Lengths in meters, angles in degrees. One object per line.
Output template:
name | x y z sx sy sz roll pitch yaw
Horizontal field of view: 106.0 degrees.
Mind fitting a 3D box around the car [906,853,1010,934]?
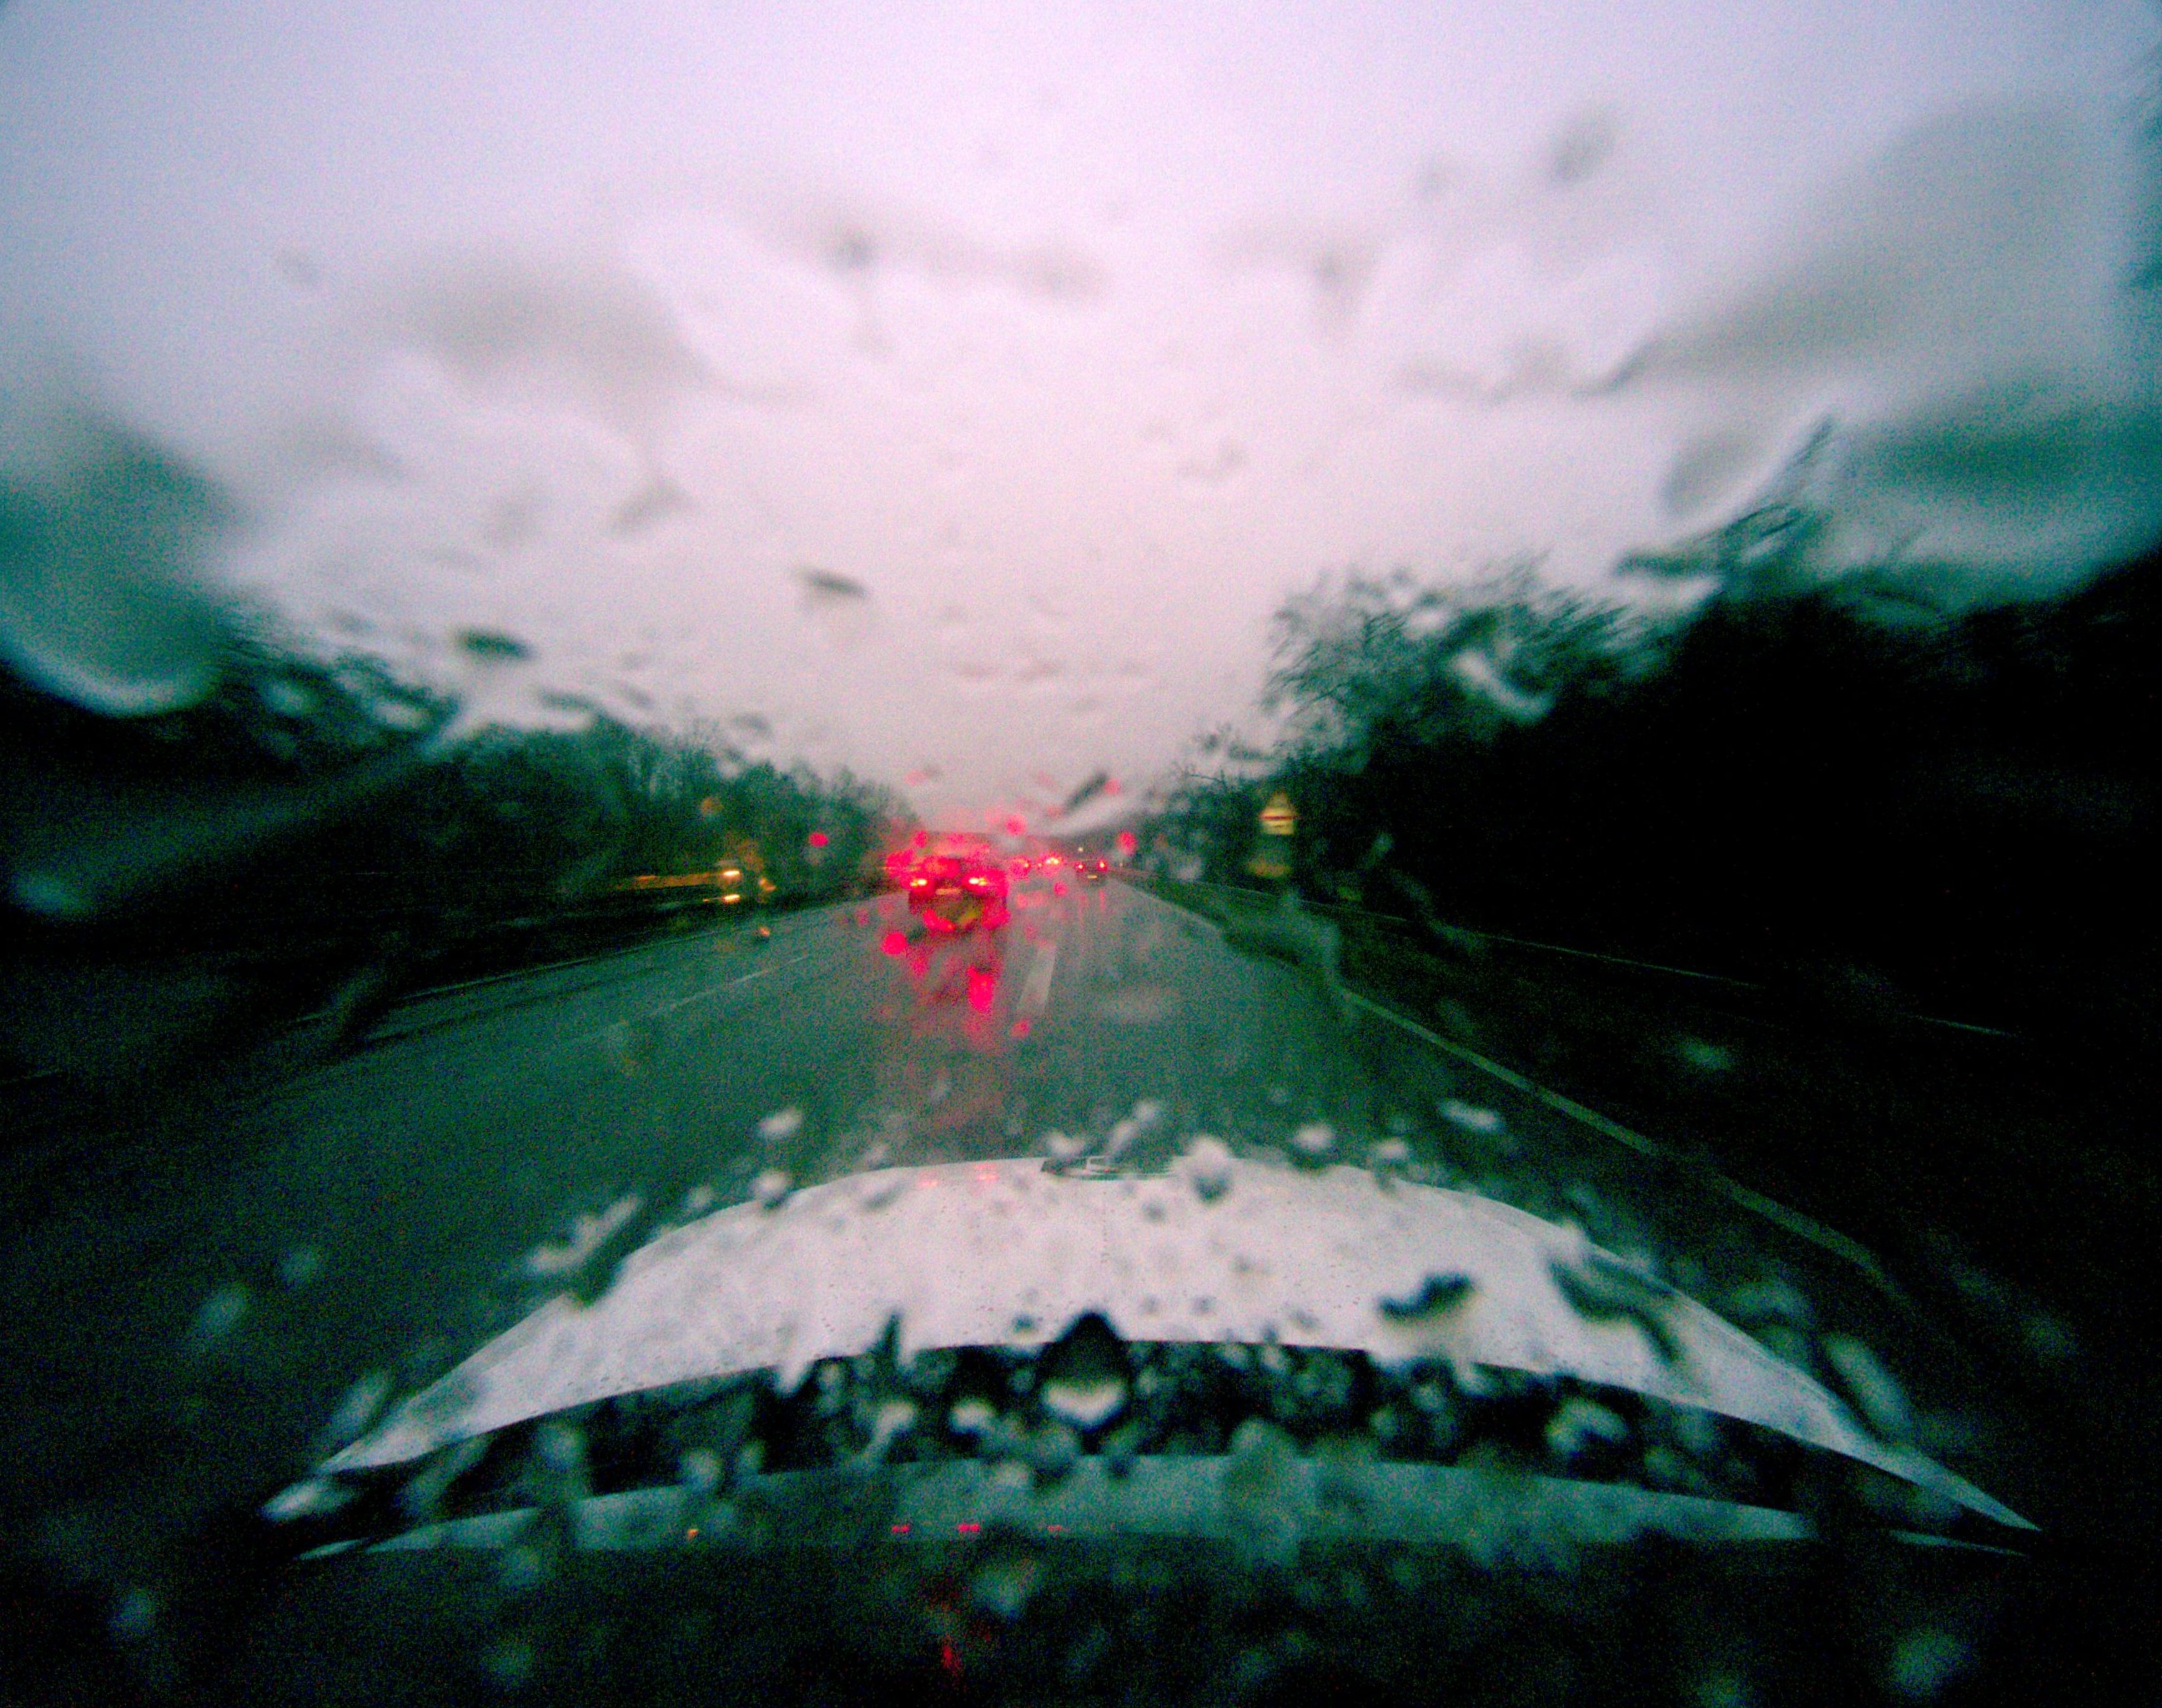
car | -2.770 0.834 19.204 1.989 1.665 3.996 -1 0 -3

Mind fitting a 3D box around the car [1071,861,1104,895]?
car | 0.326 1.295 45.736 1.727 1.428 3.765 -1 5 -2

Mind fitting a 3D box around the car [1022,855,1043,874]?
car | -4.486 0.959 75.061 1.875 1.617 3.868 1 1 -5

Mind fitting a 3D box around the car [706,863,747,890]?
car | -20.994 1.288 48.357 1.747 1.487 3.976 0 0 -17
